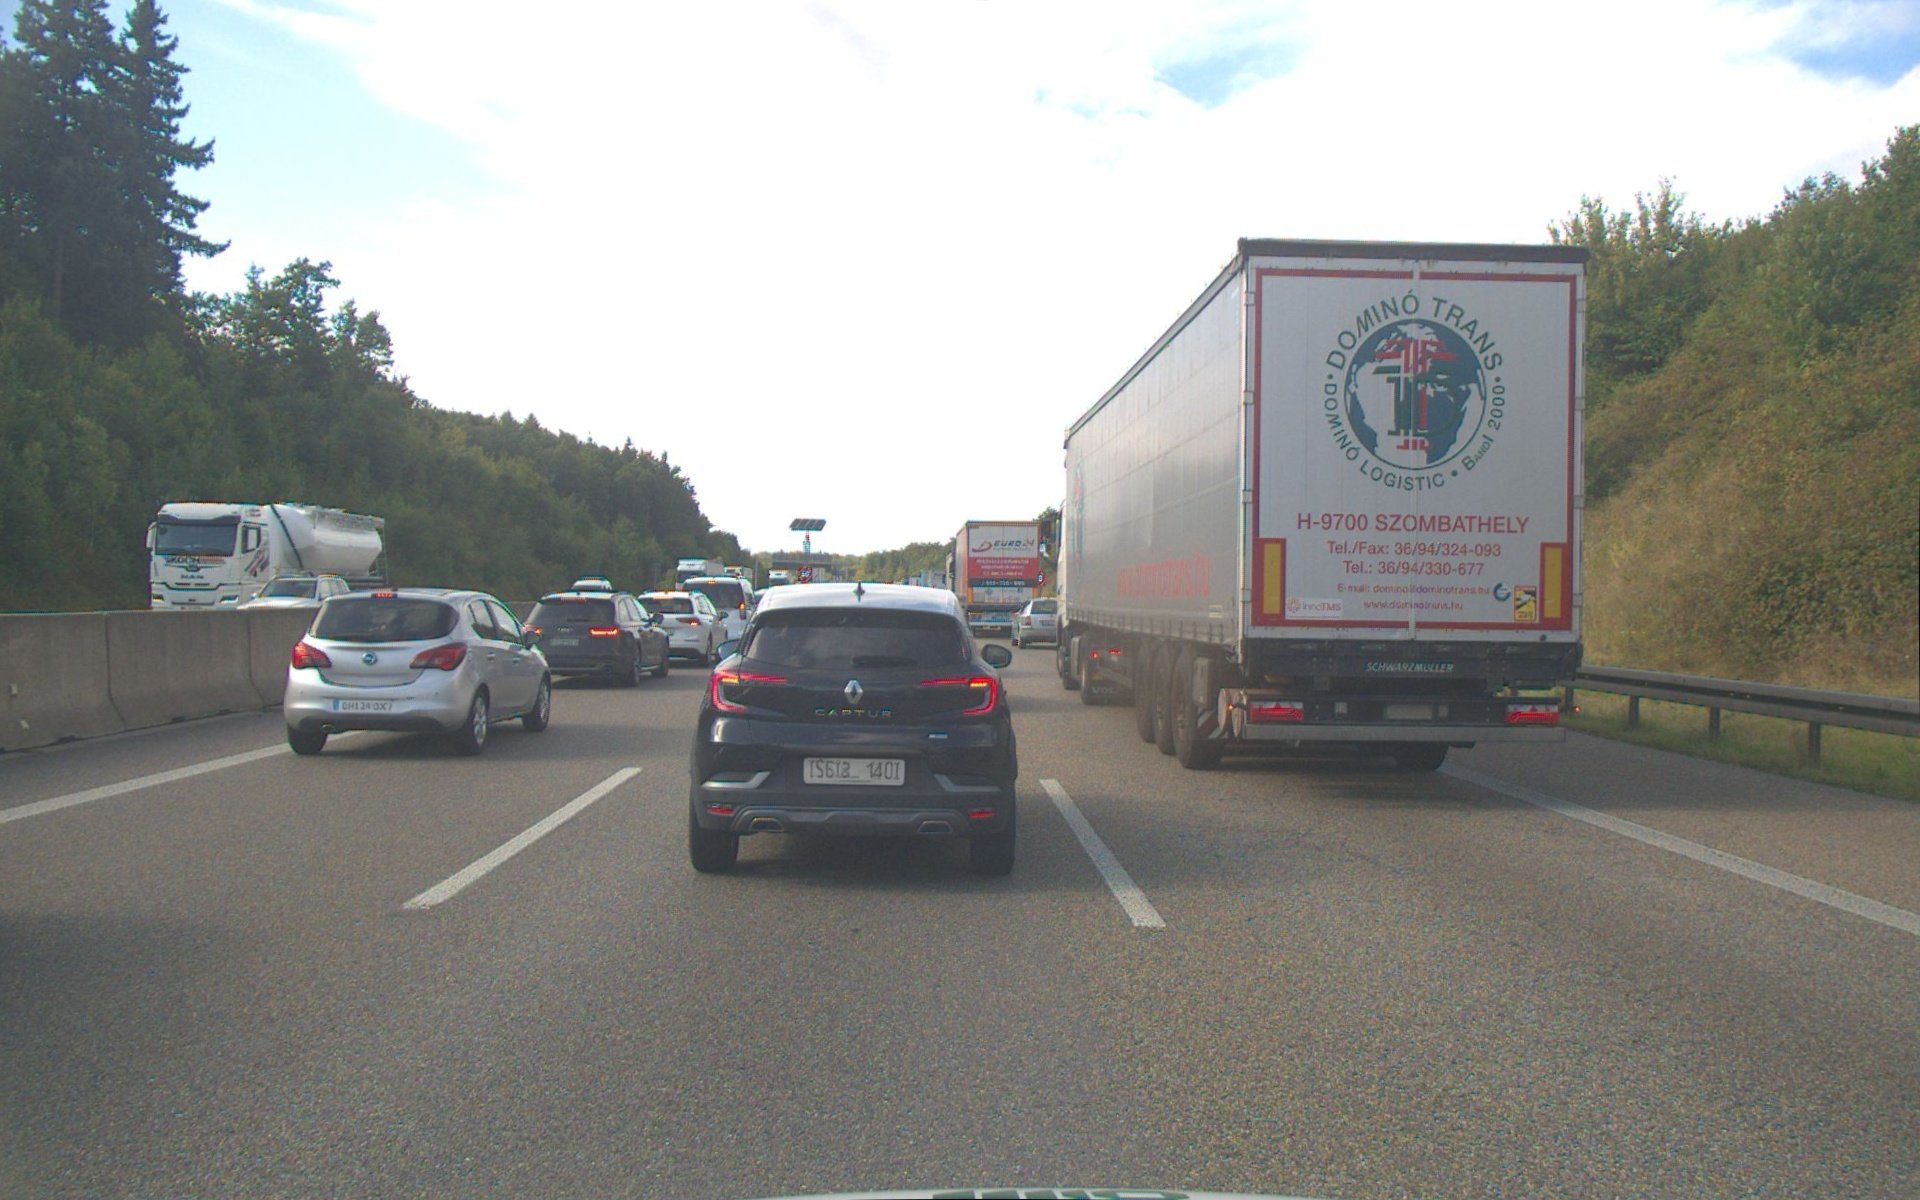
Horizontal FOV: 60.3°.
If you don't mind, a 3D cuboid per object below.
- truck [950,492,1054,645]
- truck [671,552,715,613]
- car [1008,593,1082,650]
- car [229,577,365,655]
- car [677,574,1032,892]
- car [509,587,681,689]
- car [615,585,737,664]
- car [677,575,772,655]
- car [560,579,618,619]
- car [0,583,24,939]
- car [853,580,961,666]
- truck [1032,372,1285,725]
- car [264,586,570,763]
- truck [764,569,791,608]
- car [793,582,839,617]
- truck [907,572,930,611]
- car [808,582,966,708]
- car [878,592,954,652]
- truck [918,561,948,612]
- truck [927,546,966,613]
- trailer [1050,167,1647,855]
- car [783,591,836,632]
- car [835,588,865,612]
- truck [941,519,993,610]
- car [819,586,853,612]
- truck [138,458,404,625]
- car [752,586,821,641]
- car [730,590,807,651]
[{"bbox_3d":[1.390,-1.035,62.362,3.296,5.132,12.734,1,0,-1],"label":"truck"},{"bbox_3d":[-24.291,-1.569,150.842,2.978,5.344,6.880,1,0,-2],"label":"truck"},{"bbox_3d":[2.430,0.619,48.184,1.768,1.559,3.923,1,0,-3],"label":"car"},{"bbox_3d":[-16.801,0.381,42.161,1.815,1.841,4.322,1,0,-2],"label":"car"},{"bbox_3d":[-0.506,0.665,10.305,1.767,1.579,4.000,1,0,1],"label":"car"},{"bbox_3d":[-5.793,0.550,26.803,1.805,1.481,4.746,1,0,-1],"label":"car"},{"bbox_3d":[-5.723,0.472,33.836,1.768,1.486,4.308,1,0,-1],"label":"car"},{"bbox_3d":[-5.745,0.355,40.810,1.873,1.821,4.415,1,0,-3],"label":"car"},{"bbox_3d":[-17.195,-0.064,76.726,1.815,1.742,4.322,1,0,-2],"label":"car"},{"bbox_3d":[-4.928,0.671,4.650,1.844,1.497,4.851,1,0,-1],"label":"car"},{"bbox_3d":[-1.007,0.427,32.334,1.953,1.540,3.999,1,0,-1],"label":"car"},{"bbox_3d":[2.823,-0.707,25.421,2.937,4.749,5.937,1,0,-2],"label":"truck"},{"bbox_3d":[-5.048,0.612,15.949,1.711,1.491,4.039,0,0,-2],"label":"car"},{"bbox_3d":[-24.606,-1.540,223.242,3.026,5.190,7.138,1,0,-2],"label":"truck"},{"bbox_3d":[-7.074,-0.030,81.501,1.953,1.641,3.999,1,0,-1],"label":"car"},{"bbox_3d":[-6.146,-1.203,245.969,3.102,5.601,12.734,1,0,-1],"label":"truck"},{"bbox_3d":[-0.948,0.576,22.719,1.953,1.540,3.999,1,0,-1],"label":"car"},{"bbox_3d":[-1.198,0.590,45.388,1.953,1.540,3.999,1,0,-1],"label":"car"},{"bbox_3d":[-2.910,-1.372,180.248,3.102,5.249,12.734,1,0,-1],"label":"truck"},{"bbox_3d":[-1.145,-1.722,145.651,3.101,5.601,12.737,1,0,1],"label":"truck"},{"bbox_3d":[3.084,-0.647,18.178,2.941,4.742,13.285,1,0,-2],"label":"trailer"},{"bbox_3d":[-6.360,0.490,70.397,1.953,1.641,3.999,1,0,-1],"label":"car"},{"bbox_3d":[-7.887,-0.009,118.564,1.953,1.641,3.999,1,0,-1],"label":"car"},{"bbox_3d":[0.367,-2.184,109.120,3.102,5.601,12.734,1,0,-1],"label":"truck"},{"bbox_3d":[-7.910,-0.067,105.953,1.953,1.641,3.999,1,0,-1],"label":"car"},{"bbox_3d":[-20.913,-1.552,51.528,2.873,4.430,13.904,1,0,-2],"label":"truck"},{"bbox_3d":[-5.798,0.433,55.770,1.953,1.752,3.999,1,0,-1],"label":"car"},{"bbox_3d":[-5.606,0.588,48.844,1.818,1.669,3.925,1,0,-1],"label":"car"}]
